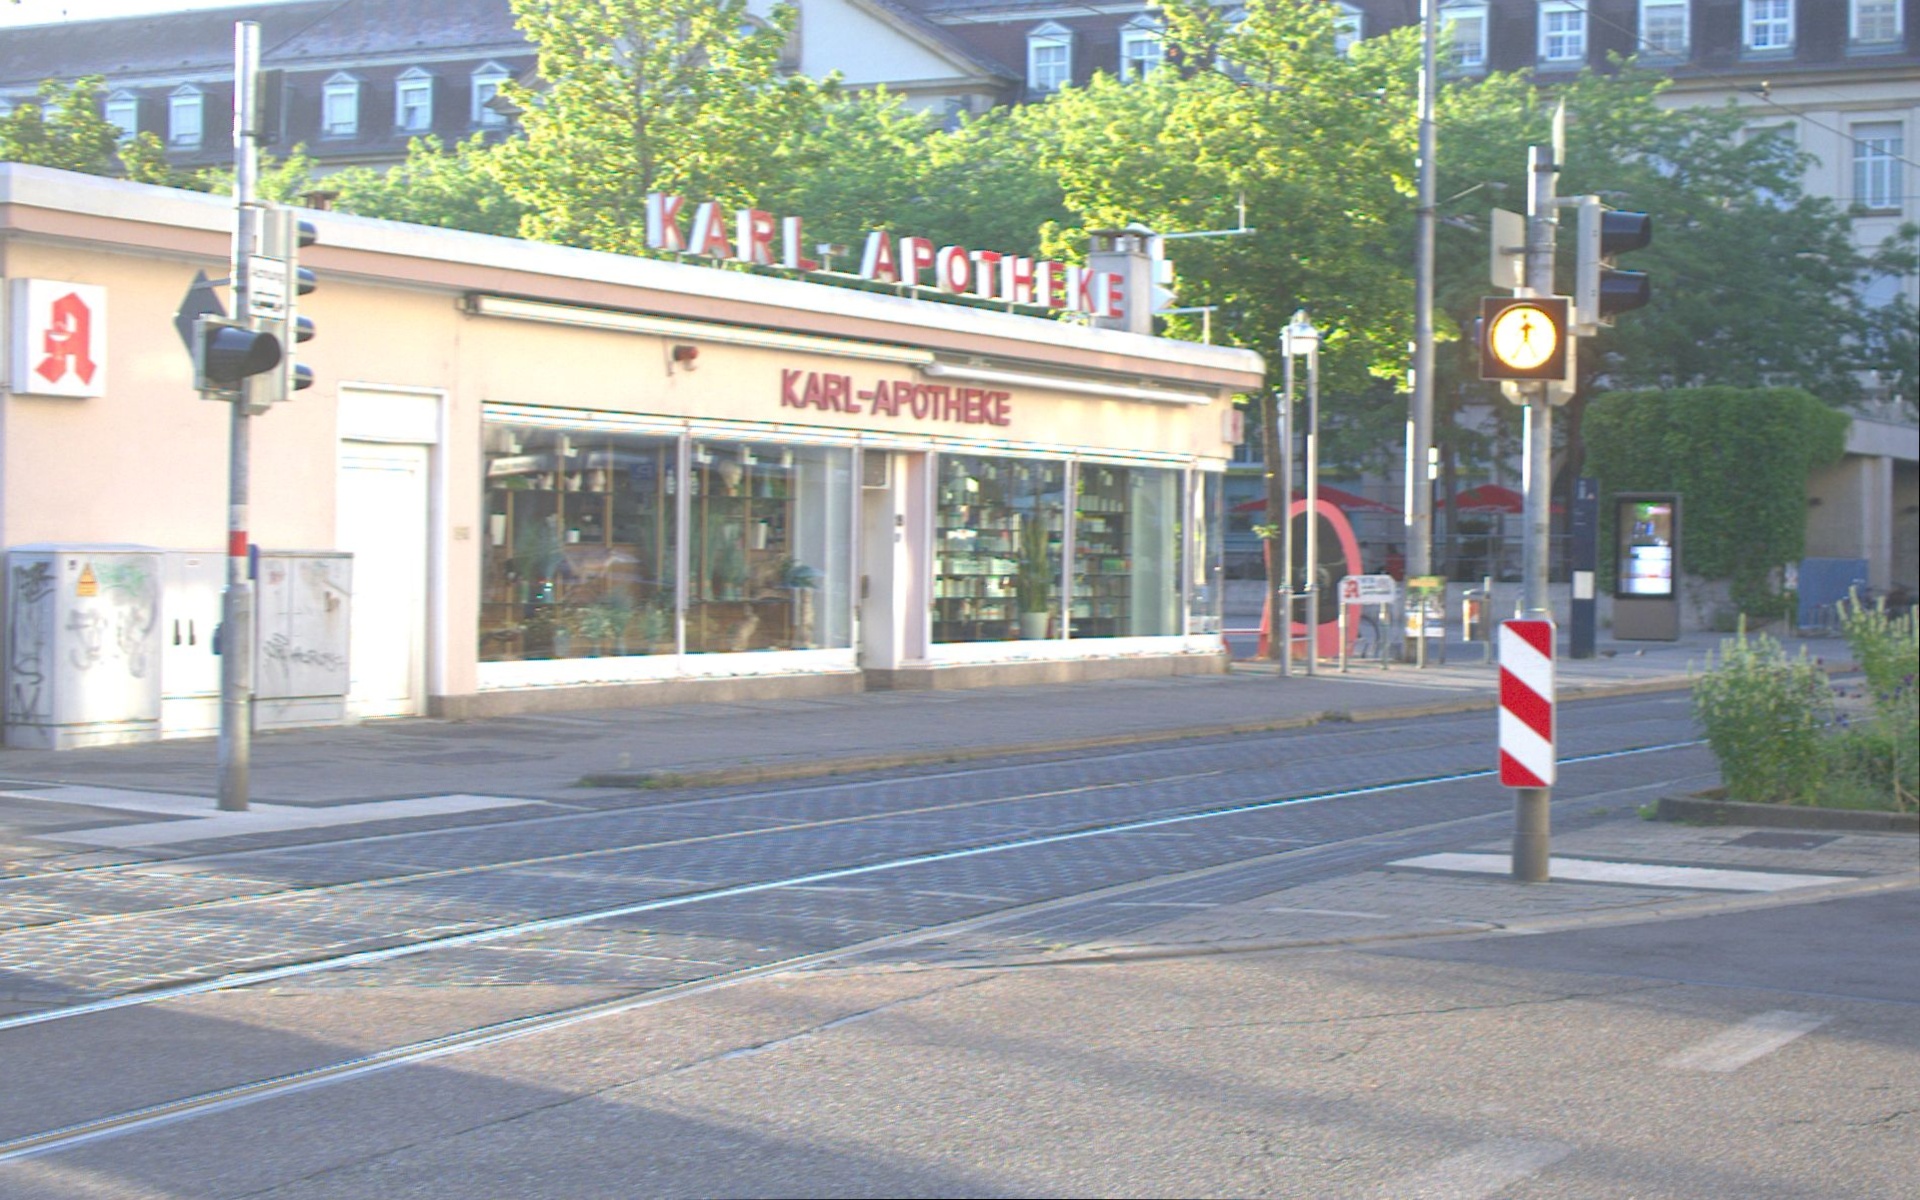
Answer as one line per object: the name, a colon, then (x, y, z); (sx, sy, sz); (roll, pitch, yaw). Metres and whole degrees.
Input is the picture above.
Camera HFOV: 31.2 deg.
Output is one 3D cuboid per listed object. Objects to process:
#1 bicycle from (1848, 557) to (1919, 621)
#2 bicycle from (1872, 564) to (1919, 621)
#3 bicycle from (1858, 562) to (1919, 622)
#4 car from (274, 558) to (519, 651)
bicycle: (19.744, -0.221, 71.861); (2.200, 1.296, 0.579); (1, -1, 29)
bicycle: (21.044, -0.148, 74.750); (2.245, 1.227, 0.584); (1, 0, 29)
bicycle: (20.356, -0.161, 73.264); (2.245, 1.250, 0.579); (1, -1, 29)
car: (-10.032, 0.099, 61.580); (1.801, 1.560, 4.673); (1, -1, 29)
